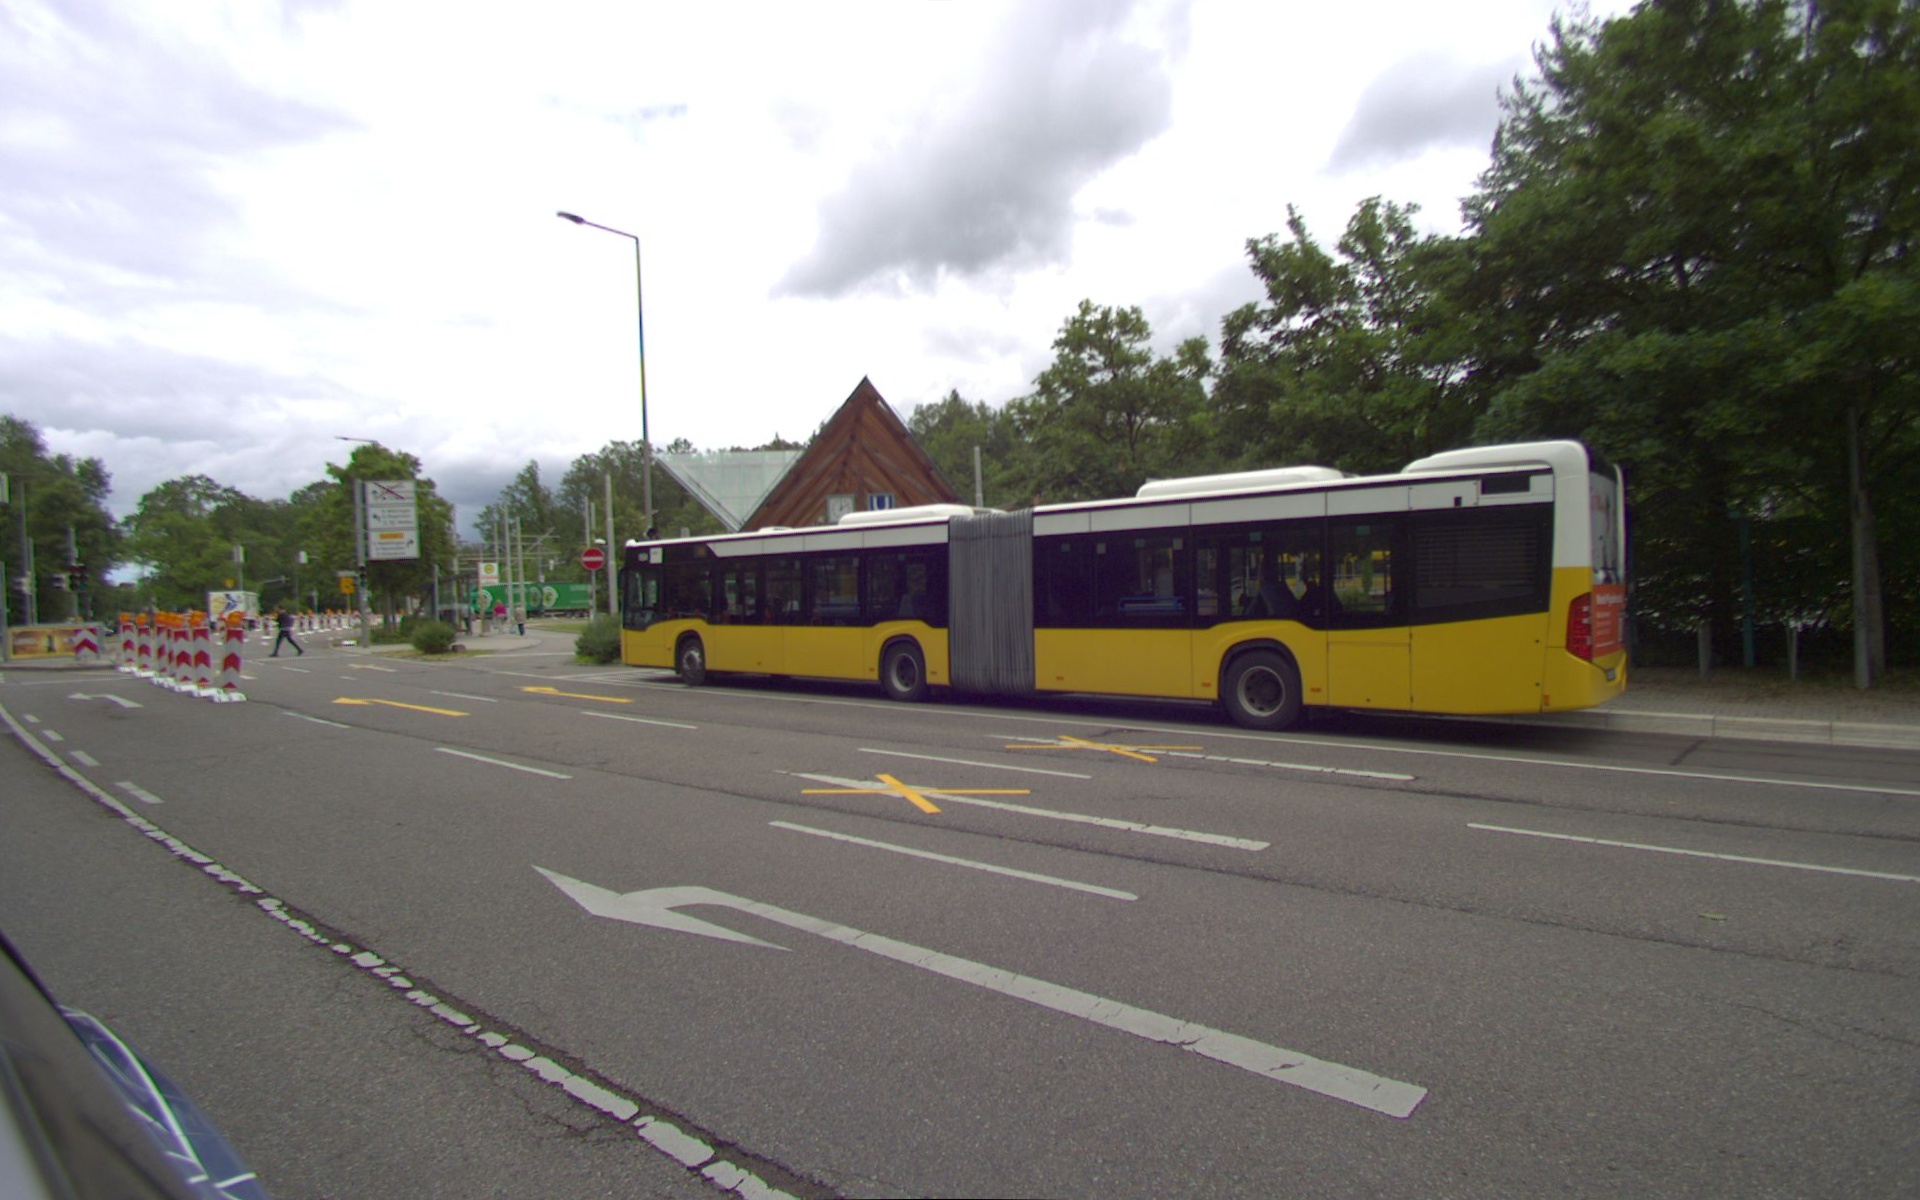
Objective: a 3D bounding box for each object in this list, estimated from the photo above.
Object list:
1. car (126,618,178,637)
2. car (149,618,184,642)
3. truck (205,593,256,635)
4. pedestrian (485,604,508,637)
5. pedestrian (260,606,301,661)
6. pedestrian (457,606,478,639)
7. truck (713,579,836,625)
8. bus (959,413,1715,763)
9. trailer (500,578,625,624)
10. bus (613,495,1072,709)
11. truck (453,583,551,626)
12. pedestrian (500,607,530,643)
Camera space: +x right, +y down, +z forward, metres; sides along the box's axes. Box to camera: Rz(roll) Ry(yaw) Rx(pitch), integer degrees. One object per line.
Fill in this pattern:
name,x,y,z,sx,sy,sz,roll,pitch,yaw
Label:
car,-92.351,3.113,115.749,4.783,1.829,1.993,-3,1,11
car,-54.131,2.049,69.022,1.785,1.520,4.315,0,0,-40
truck,-59.039,1.129,82.024,2.592,3.263,6.225,0,-1,-29
pedestrian,-22.528,1.008,49.179,0.779,1.563,0.777,-3,1,-38
pedestrian,-23.392,1.131,34.867,0.977,1.822,0.769,-3,1,-23
pedestrian,-24.401,1.113,50.109,0.764,1.557,0.630,-3,2,-36
truck,-10.273,0.133,55.903,6.263,2.186,2.587,-3,1,24
bus,4.199,-0.054,13.076,8.690,3.150,2.868,-1,-1,41
trailer,-39.840,0.095,101.441,11.764,3.910,3.769,-3,1,17
bus,-2.716,0.092,19.196,9.755,3.150,2.868,-1,-1,41
truck,-46.820,0.438,103.552,8.694,3.910,3.769,-3,1,17
pedestrian,-19.752,1.101,44.933,0.864,1.536,0.767,-3,1,3
